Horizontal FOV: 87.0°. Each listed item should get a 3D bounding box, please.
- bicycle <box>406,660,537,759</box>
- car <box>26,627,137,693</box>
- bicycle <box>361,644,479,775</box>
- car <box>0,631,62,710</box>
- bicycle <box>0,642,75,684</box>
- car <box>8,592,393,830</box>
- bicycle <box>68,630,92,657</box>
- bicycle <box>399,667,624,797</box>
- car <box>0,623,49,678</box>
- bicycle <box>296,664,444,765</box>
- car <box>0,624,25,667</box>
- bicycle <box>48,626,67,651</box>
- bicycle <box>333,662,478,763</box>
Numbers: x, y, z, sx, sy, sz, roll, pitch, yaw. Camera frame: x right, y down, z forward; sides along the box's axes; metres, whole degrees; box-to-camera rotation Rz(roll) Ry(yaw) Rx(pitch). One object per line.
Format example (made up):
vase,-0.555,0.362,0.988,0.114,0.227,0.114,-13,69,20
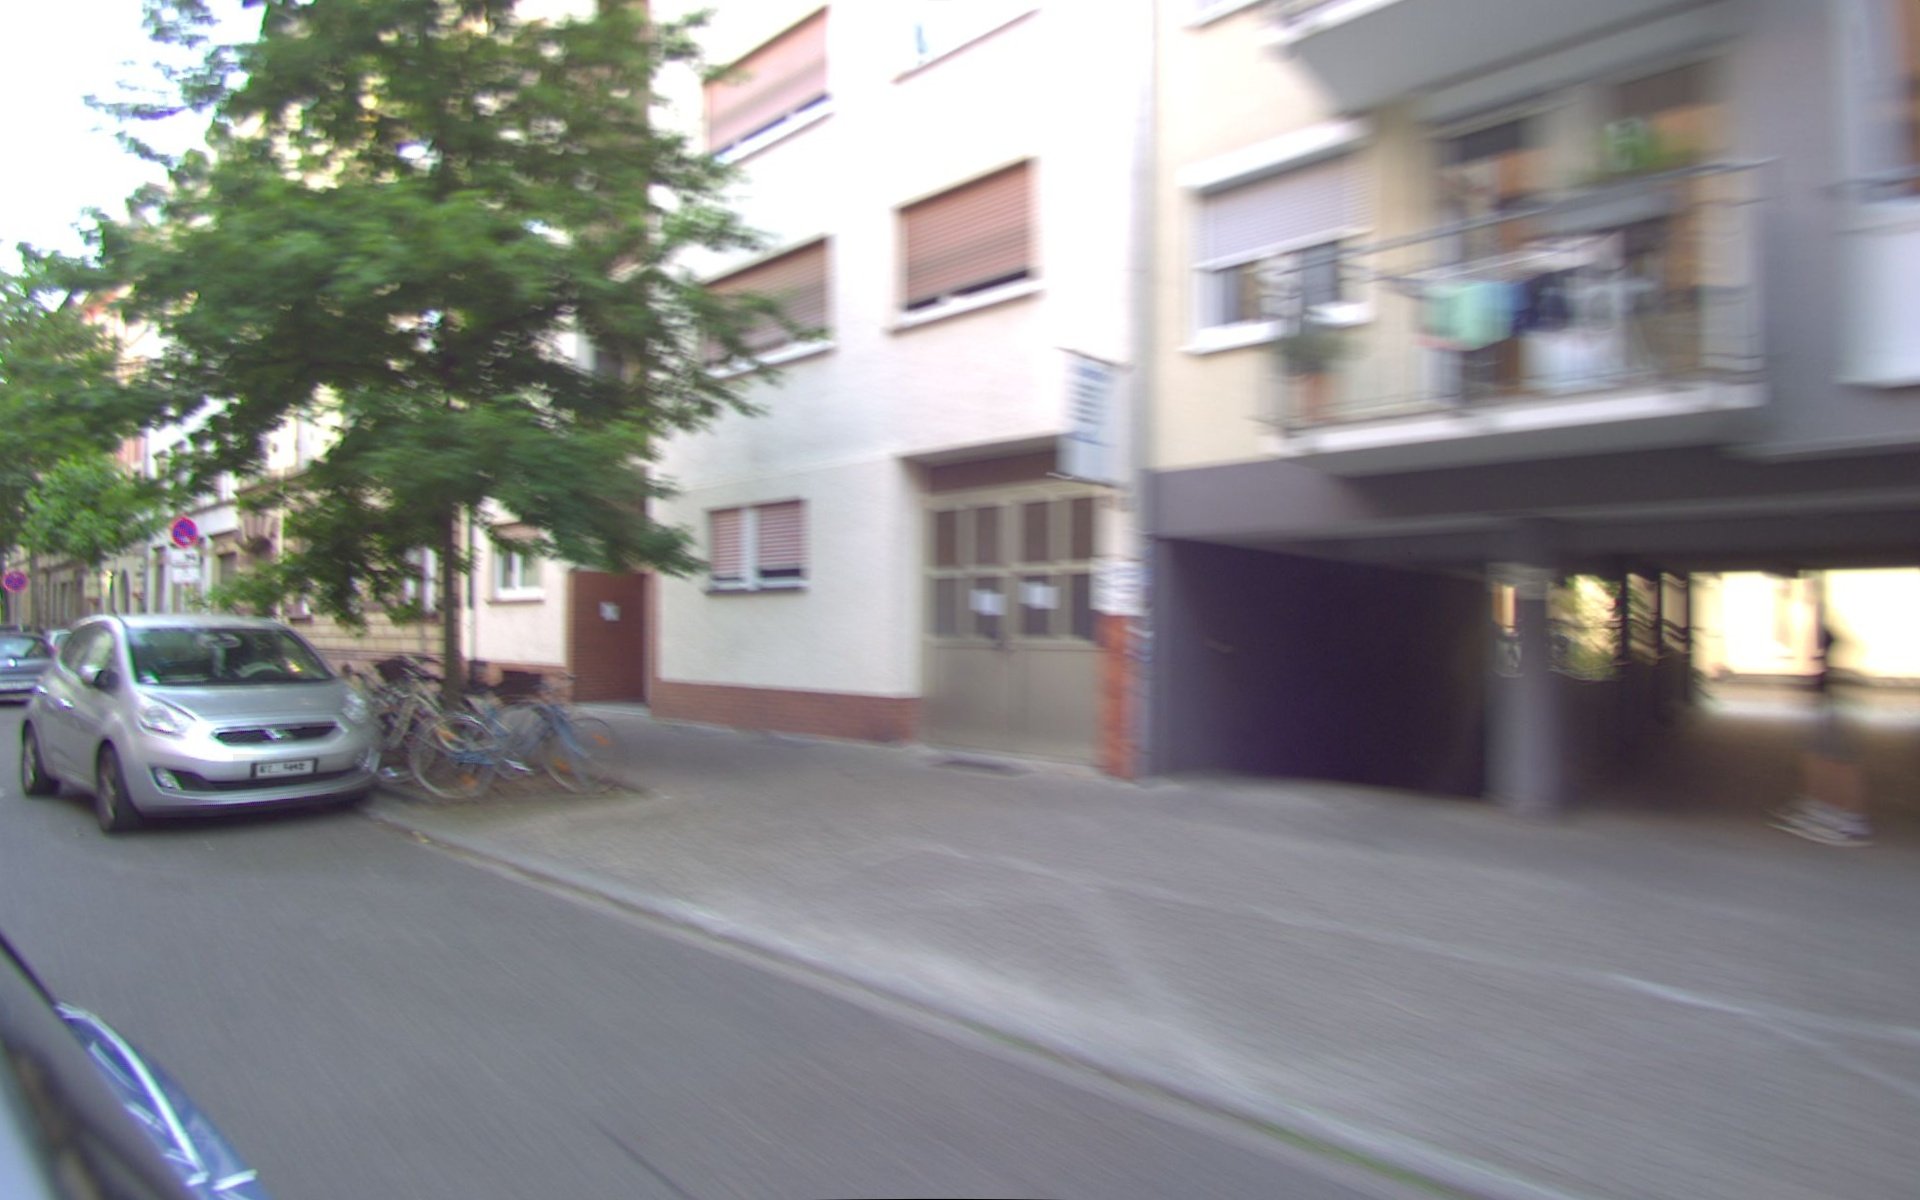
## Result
bicycle,-5.350,1.168,11.177,0.379,0.905,1.659,-1,0,11
car,-21.791,1.424,25.074,3.564,1.447,1.571,-1,0,41
bicycle,-5.154,0.995,9.617,1.664,1.112,0.415,-1,0,41
car,-19.080,1.337,19.970,3.751,1.431,1.564,-1,-2,41
bicycle,-25.376,1.710,27.605,1.800,1.093,0.669,0,0,-6
car,-6.573,0.779,8.613,3.995,1.575,1.647,-1,-2,38
bicycle,-36.093,1.775,41.489,1.794,1.106,0.520,-1,-1,42
bicycle,-3.811,1.107,8.735,1.702,1.002,0.578,0,-2,-15
car,-30.166,1.583,31.930,4.077,1.592,1.688,-2,0,42
bicycle,-6.422,1.213,11.117,0.379,0.914,1.698,-1,0,11
car,-36.568,1.704,37.898,4.683,1.529,1.787,-1,0,41
bicycle,-41.701,1.765,46.742,1.629,1.098,0.456,-3,1,42
bicycle,-5.979,1.180,11.015,0.379,0.905,1.698,-1,0,11
